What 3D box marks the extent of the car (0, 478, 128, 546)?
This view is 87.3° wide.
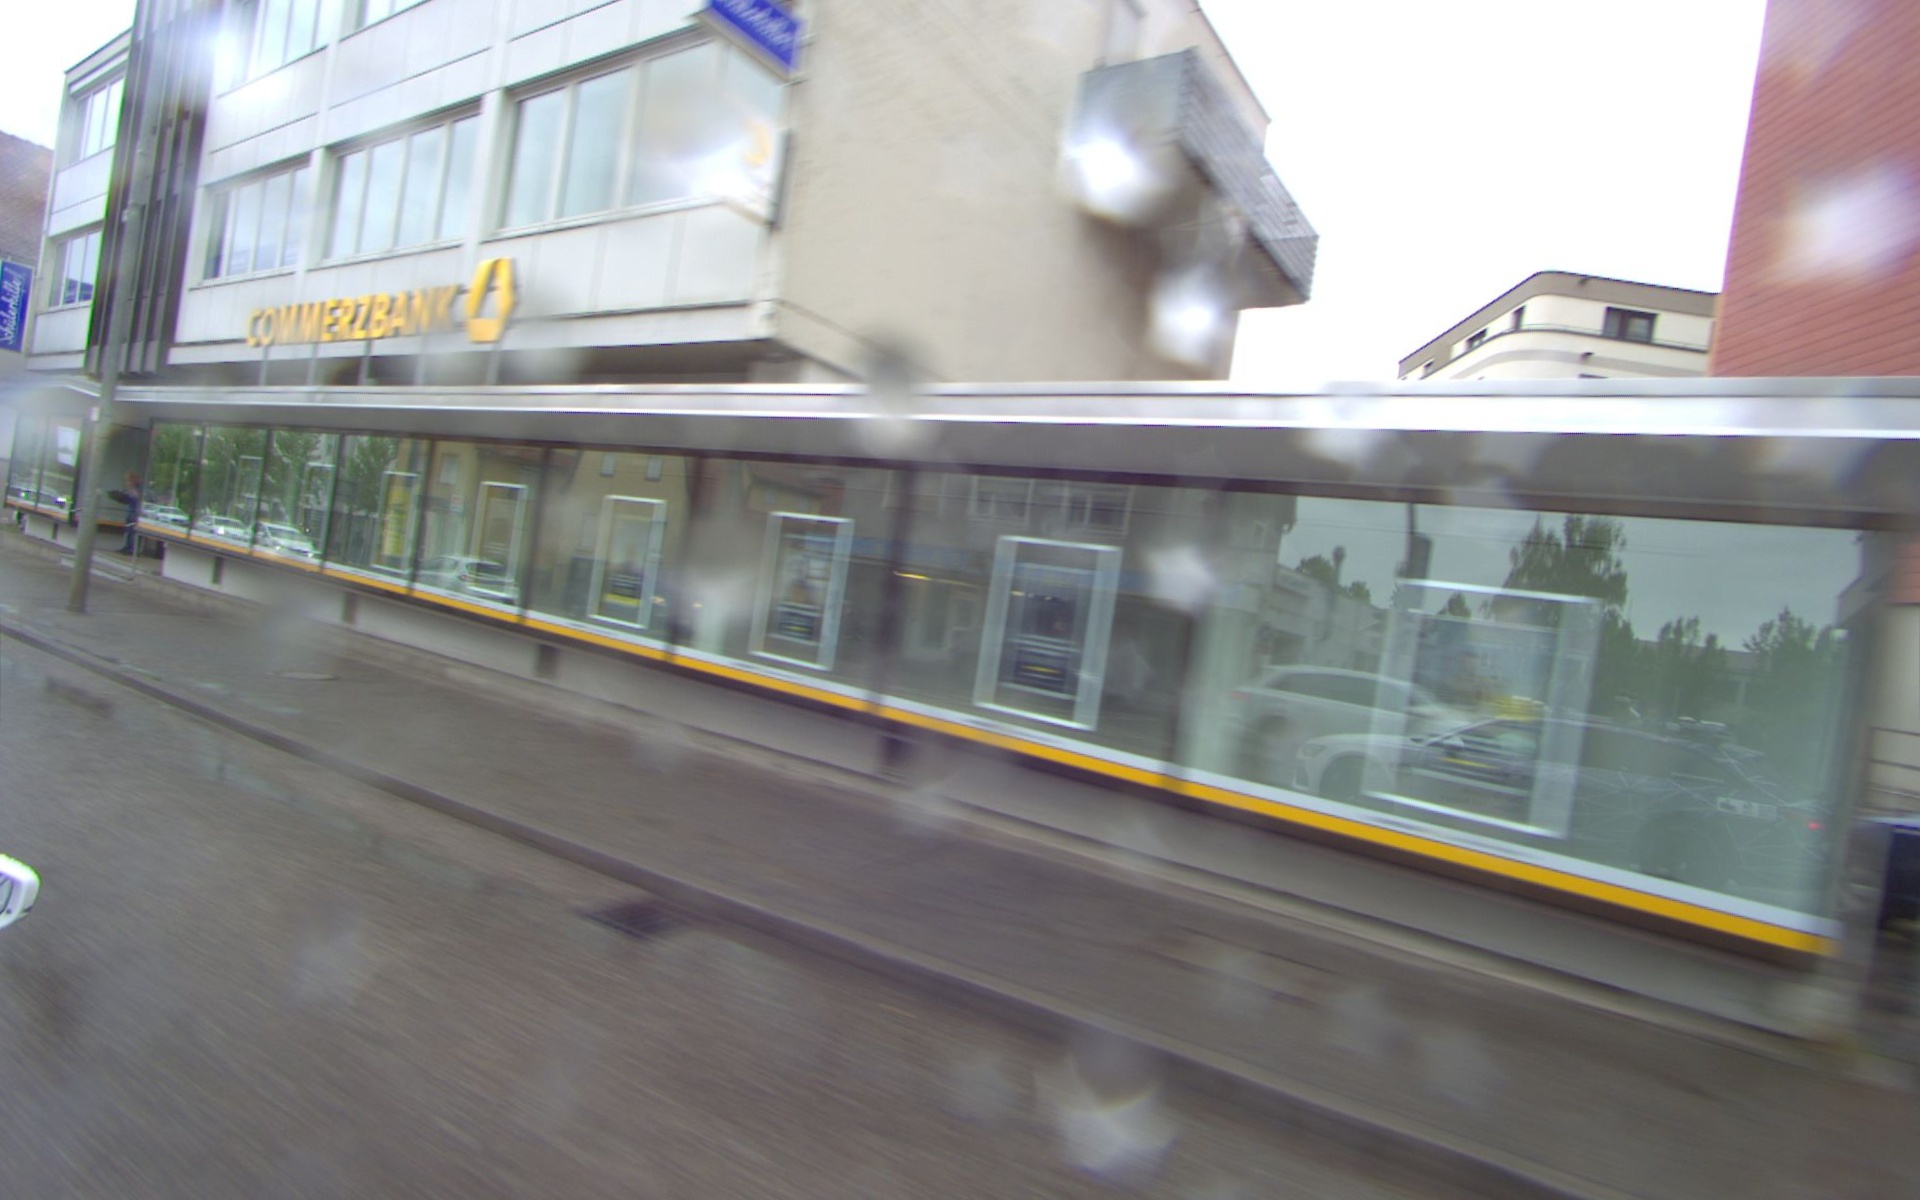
[{"bbox_3d":[-25.294,-2.466,27.868,3.278,1.522,1.354,7,2,0],"label":"car"}]

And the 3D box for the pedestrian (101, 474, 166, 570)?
[{"bbox_3d":[-16.856,-1.601,20.517,0.939,1.802,0.728,9,0,42],"label":"pedestrian"}]

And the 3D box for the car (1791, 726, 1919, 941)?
[{"bbox_3d":[7.807,1.851,6.172,1.704,1.428,4.400,8,0,2],"label":"car"}]
